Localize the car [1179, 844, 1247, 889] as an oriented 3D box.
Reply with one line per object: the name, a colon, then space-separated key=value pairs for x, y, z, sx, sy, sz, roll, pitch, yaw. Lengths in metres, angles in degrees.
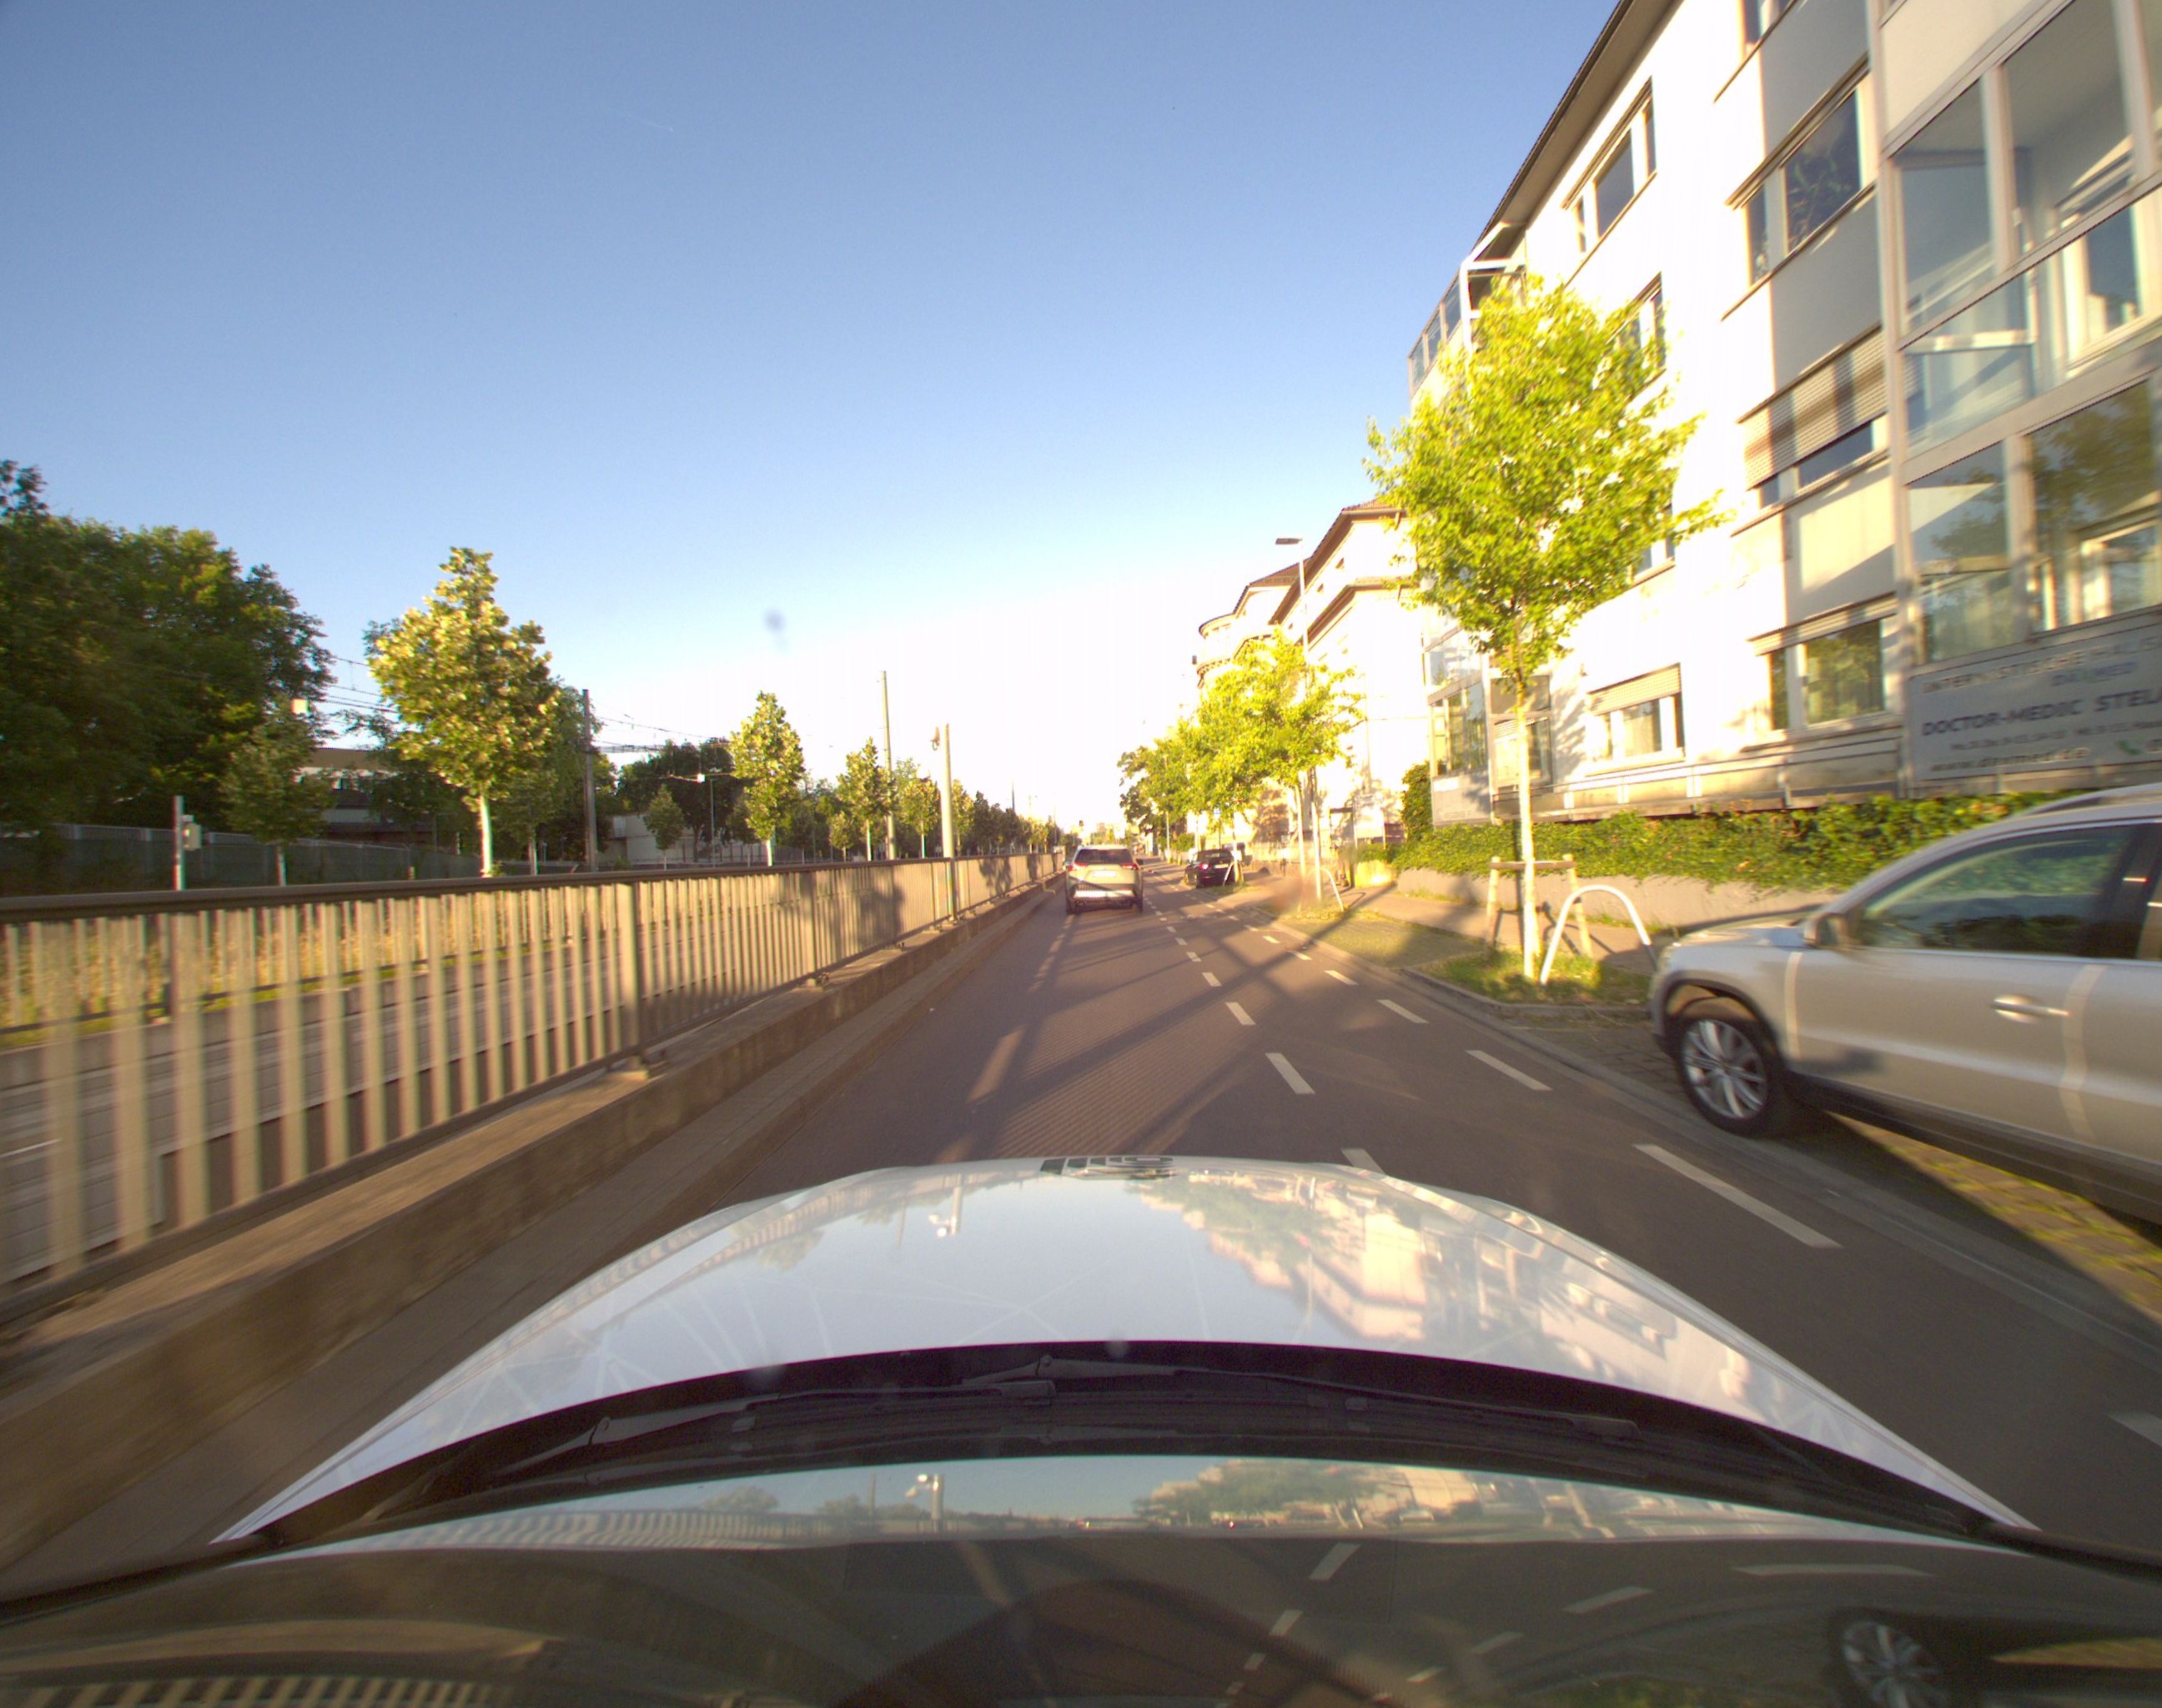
car: x=5.122 y=0.443 z=32.247 sx=1.787 sy=1.471 sz=4.443 roll=-5 pitch=0 yaw=-1

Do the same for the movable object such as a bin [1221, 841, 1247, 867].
movable object such as a bin: x=9.027 y=0.002 z=48.019 sx=1.256 sy=1.462 sz=1.123 roll=-2 pitch=0 yaw=-2

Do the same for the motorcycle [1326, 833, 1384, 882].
motorcycle: x=8.537 y=0.100 z=25.407 sx=1.492 sy=1.413 sz=0.626 roll=-5 pitch=1 yaw=-2

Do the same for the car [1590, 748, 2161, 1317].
car: x=4.135 y=0.493 z=2.977 sx=1.848 sy=1.706 sz=4.253 roll=-3 pitch=0 yaw=0

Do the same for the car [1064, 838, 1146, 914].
car: x=0.561 y=0.504 z=20.702 sx=1.852 sy=1.714 sz=4.192 roll=-1 pitch=0 yaw=0

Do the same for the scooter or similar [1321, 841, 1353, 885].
scooter or similar: x=7.534 y=0.269 z=23.990 sx=0.489 sy=1.258 sz=1.207 roll=-1 pitch=0 yaw=-2

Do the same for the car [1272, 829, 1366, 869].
car: x=12.167 y=-0.280 z=41.825 sx=4.176 sy=1.570 sz=1.919 roll=-6 pitch=0 yaw=4
